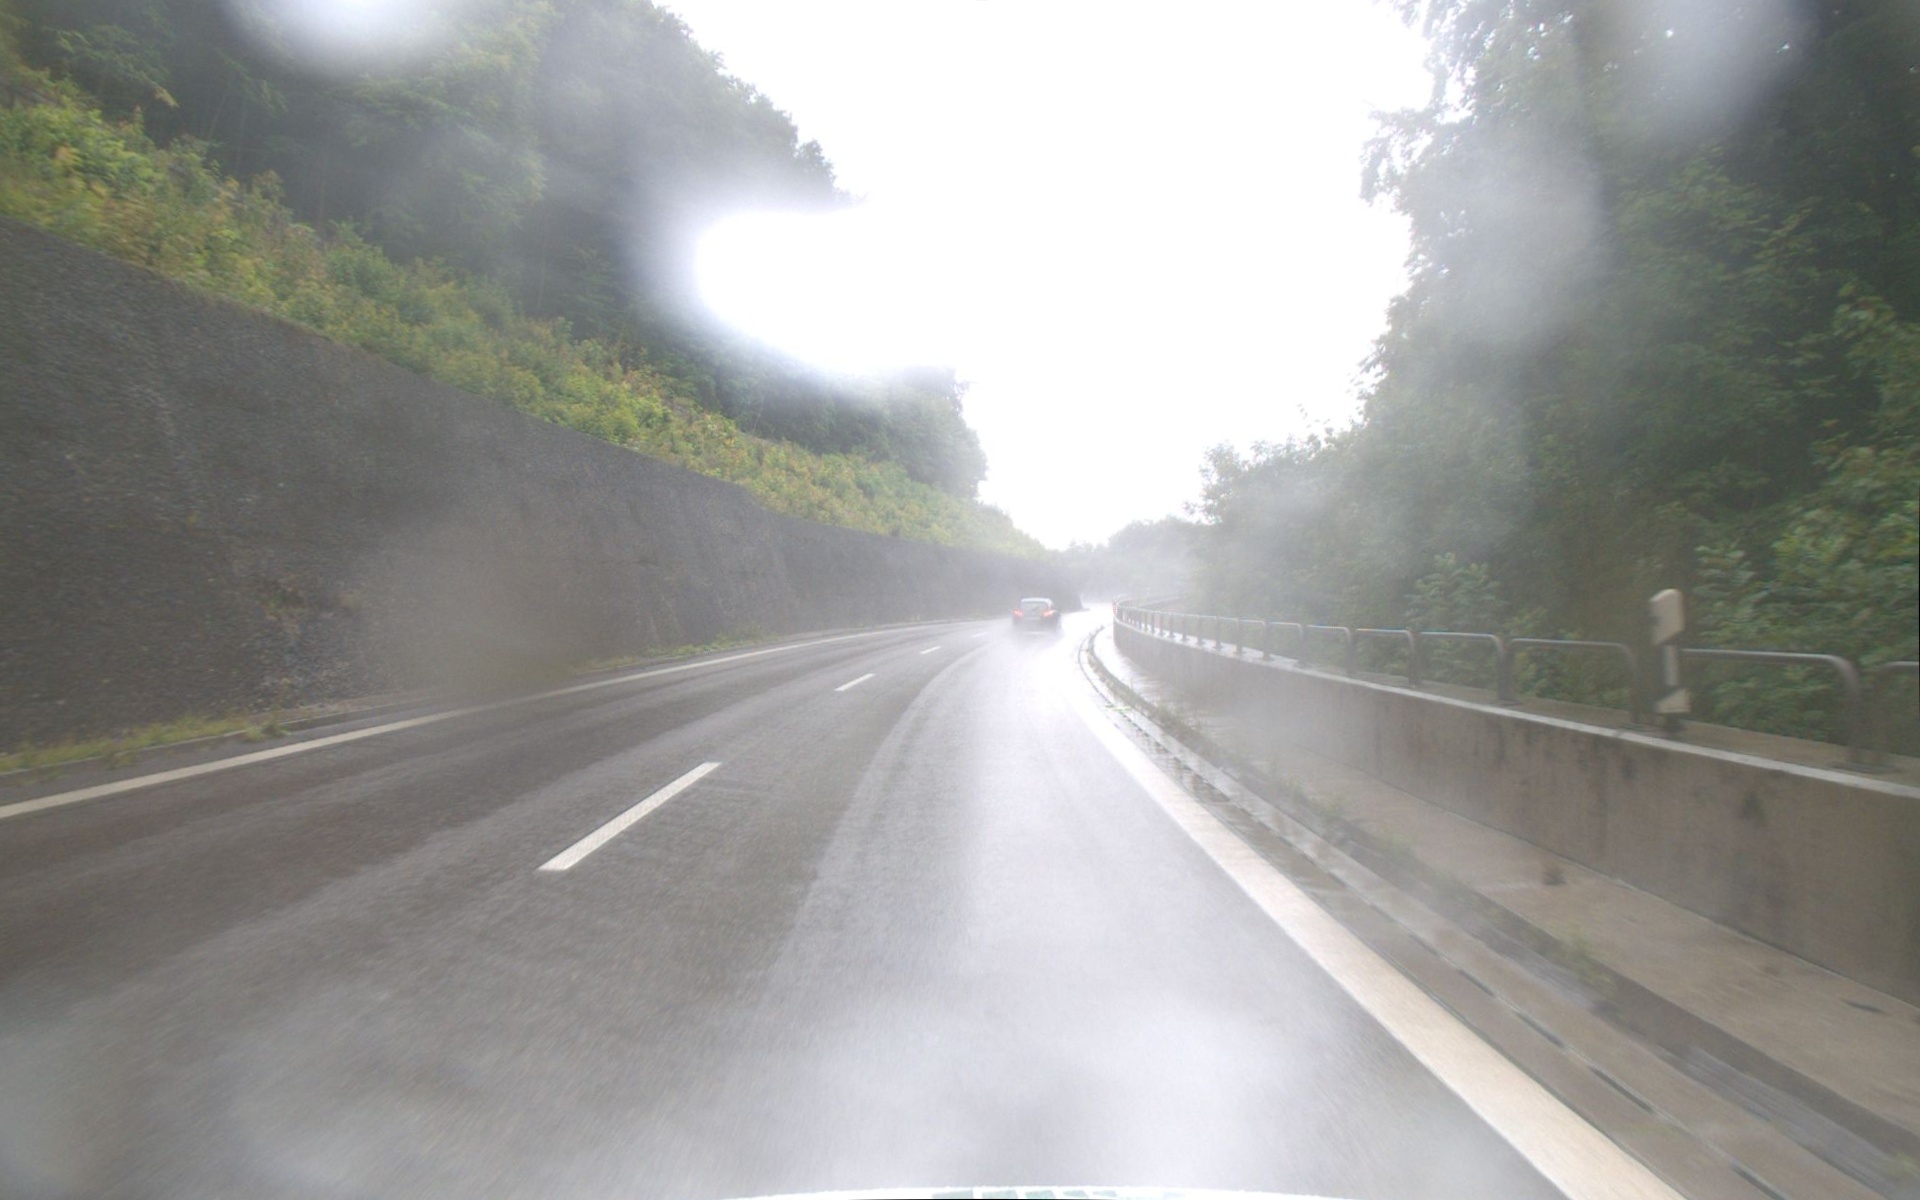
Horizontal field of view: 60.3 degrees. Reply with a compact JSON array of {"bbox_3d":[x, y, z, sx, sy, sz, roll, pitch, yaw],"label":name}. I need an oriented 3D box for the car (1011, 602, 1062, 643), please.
[{"bbox_3d":[3.110,0.888,66.671,1.863,1.525,4.002,-1,0,5],"label":"car"}]
